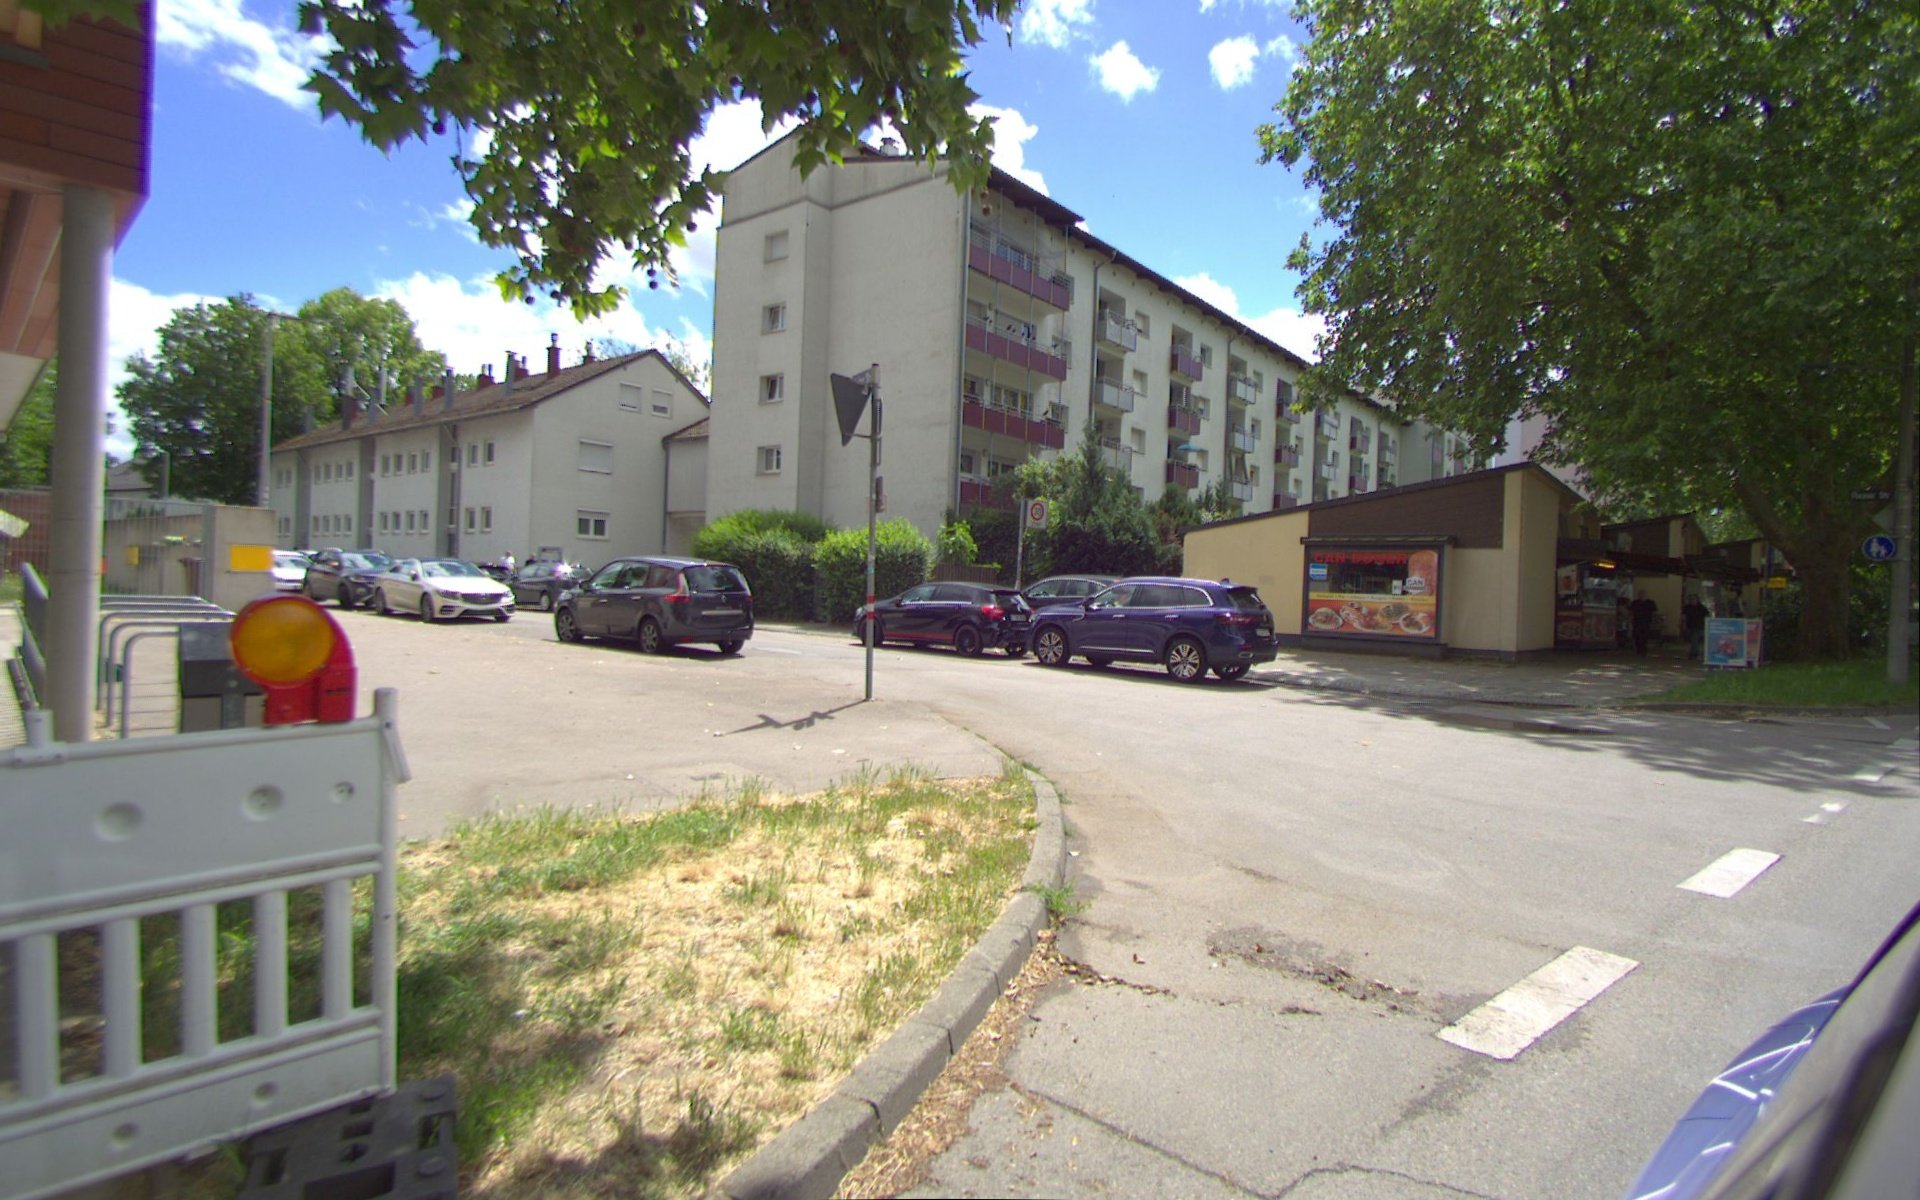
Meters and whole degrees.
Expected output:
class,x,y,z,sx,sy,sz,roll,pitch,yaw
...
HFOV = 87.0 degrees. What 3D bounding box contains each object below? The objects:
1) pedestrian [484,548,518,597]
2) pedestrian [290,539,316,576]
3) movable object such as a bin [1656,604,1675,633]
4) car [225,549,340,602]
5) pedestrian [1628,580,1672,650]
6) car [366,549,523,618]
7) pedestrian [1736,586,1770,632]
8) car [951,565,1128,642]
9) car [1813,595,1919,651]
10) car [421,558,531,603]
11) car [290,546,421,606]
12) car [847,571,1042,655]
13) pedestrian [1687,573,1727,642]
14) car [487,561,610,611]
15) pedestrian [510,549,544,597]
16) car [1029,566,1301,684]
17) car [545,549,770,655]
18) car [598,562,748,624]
class,x,y,z,sx,sy,sz,roll,pitch,yaw
pedestrian,-16.967,-1.016,37.421,0.949,1.777,0.828,1,0,40
pedestrian,-32.538,-2.080,50.122,0.949,1.777,0.828,1,0,40
movable object such as a bin,23.185,0.608,33.237,0.436,0.925,0.579,3,2,39
car,-20.669,-0.777,30.814,4.227,1.475,1.865,3,1,41
pedestrian,17.895,0.383,26.242,0.759,1.746,0.648,4,2,45
car,-12.192,-0.419,23.835,4.227,1.475,1.865,3,1,41
pedestrian,32.463,0.343,41.430,0.595,1.823,0.926,1,2,3
car,1.903,0.032,24.944,4.090,1.675,1.784,3,2,41
car,29.495,0.728,31.957,3.829,1.581,1.595,4,3,43
car,-16.683,-0.683,34.796,4.045,1.426,1.930,3,1,40
car,-16.432,-0.668,27.433,4.227,1.475,1.865,3,1,41
car,-0.389,0.221,20.795,3.985,1.461,1.503,4,1,41
pedestrian,18.763,0.189,25.410,0.758,1.697,0.625,1,1,-41
car,-12.920,-0.461,31.708,4.045,1.426,1.930,3,1,40
pedestrian,-16.229,-0.991,37.935,0.949,1.777,0.828,1,0,40
car,3.472,0.348,17.599,4.176,1.703,1.983,3,1,41
car,-5.432,-0.032,17.908,4.227,1.624,1.865,3,1,41
car,-7.721,-0.206,27.059,4.103,1.472,1.849,3,1,40
